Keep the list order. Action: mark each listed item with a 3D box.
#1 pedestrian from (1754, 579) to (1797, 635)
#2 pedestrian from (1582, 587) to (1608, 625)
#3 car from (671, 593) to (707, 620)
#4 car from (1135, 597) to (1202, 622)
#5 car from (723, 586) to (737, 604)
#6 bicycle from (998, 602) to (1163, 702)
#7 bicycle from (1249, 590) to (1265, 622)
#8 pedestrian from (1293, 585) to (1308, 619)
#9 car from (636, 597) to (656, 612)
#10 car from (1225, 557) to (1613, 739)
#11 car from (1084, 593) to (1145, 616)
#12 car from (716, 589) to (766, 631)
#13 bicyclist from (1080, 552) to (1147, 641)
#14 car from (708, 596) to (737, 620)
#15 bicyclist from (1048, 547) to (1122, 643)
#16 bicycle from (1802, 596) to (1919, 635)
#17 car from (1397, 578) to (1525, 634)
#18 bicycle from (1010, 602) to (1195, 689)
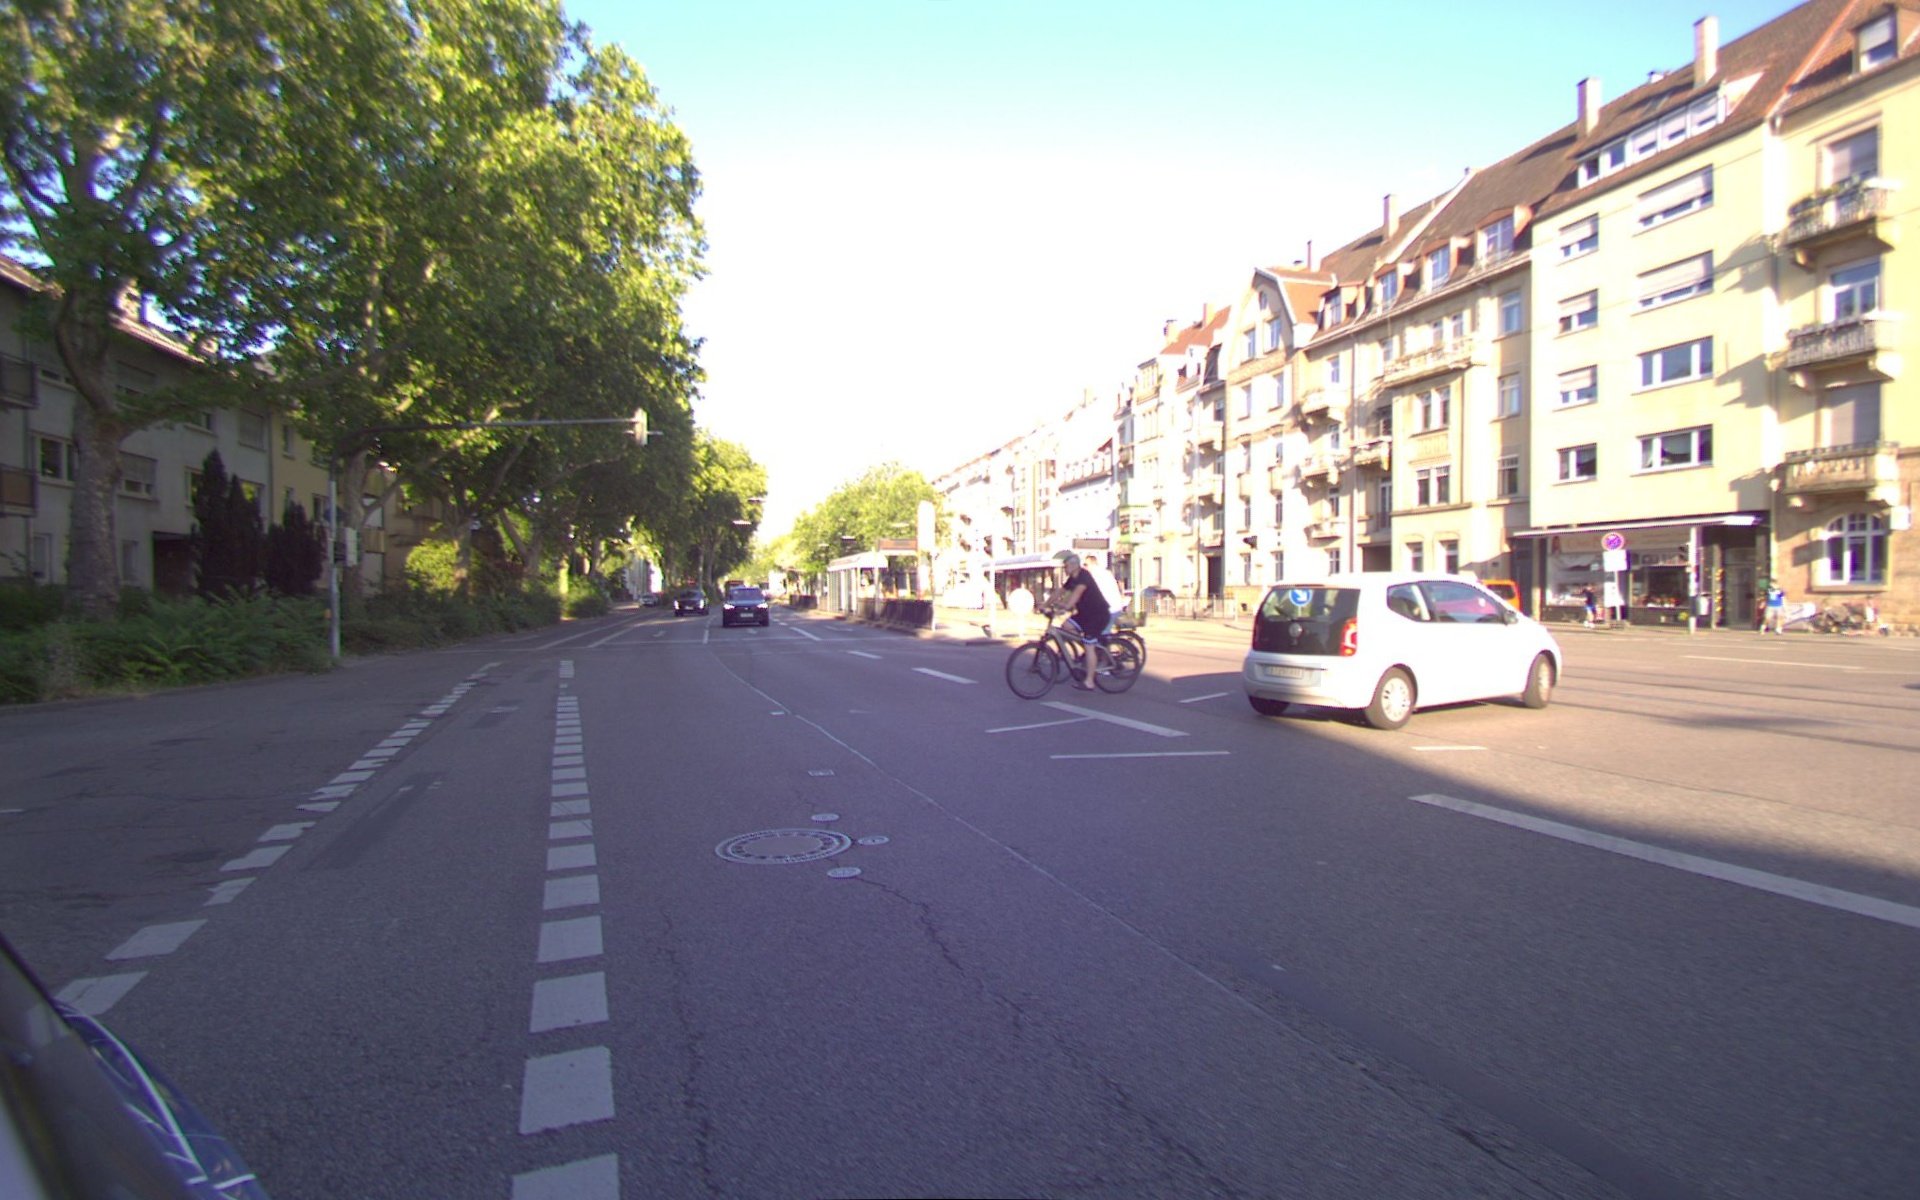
[{"bbox_3d":[24.462,0.205,30.377,0.620,1.653,0.772,-1,0,-16],"label":"pedestrian"},{"bbox_3d":[23.011,0.219,36.682,0.545,1.373,0.557,-1,0,-14],"label":"pedestrian"},{"bbox_3d":[-16.790,0.398,62.900,1.849,1.608,4.009,-1,0,-10],"label":"car"},{"bbox_3d":[13.246,0.579,64.389,3.642,1.475,1.955,-1,1,-18],"label":"car"},{"bbox_3d":[-31.222,-0.668,137.332,1.848,2.309,4.011,-1,0,-14],"label":"car"},{"bbox_3d":[1.489,0.625,12.624,1.893,1.113,0.654,-2,1,-10],"label":"bicycle"},{"bbox_3d":[16.733,0.332,57.060,0.551,1.750,0.891,0,1,-10],"label":"bicycle"},{"bbox_3d":[18.604,0.108,55.325,0.630,1.851,0.478,0,1,-12],"label":"pedestrian"},{"bbox_3d":[-34.388,0.446,110.849,1.848,1.608,4.011,-1,0,-14],"label":"car"},{"bbox_3d":[4.764,0.369,10.433,3.749,1.491,1.743,-3,2,-29],"label":"car"},{"bbox_3d":[10.693,0.286,69.993,3.642,1.475,1.955,-1,1,-18],"label":"car"},{"bbox_3d":[-8.937,0.391,41.553,1.849,1.608,4.009,-1,0,-10],"label":"car"},{"bbox_3d":[2.189,-0.057,14.488,0.755,1.245,0.662,0,1,-11],"label":"bicyclist"},{"bbox_3d":[-16.552,0.556,70.489,1.848,1.608,4.011,-1,0,-14],"label":"car"},{"bbox_3d":[1.553,-0.068,12.625,0.755,1.166,0.613,0,1,-11],"label":"bicyclist"},{"bbox_3d":[25.757,0.409,29.017,0.656,1.064,2.511,-1,0,-17],"label":"bicycle"},{"bbox_3d":[18.293,0.166,37.176,1.889,1.913,4.321,0,1,-13],"label":"car"},{"bbox_3d":[2.034,0.632,14.476,2.511,1.113,0.654,-2,1,-10],"label":"bicycle"}]
